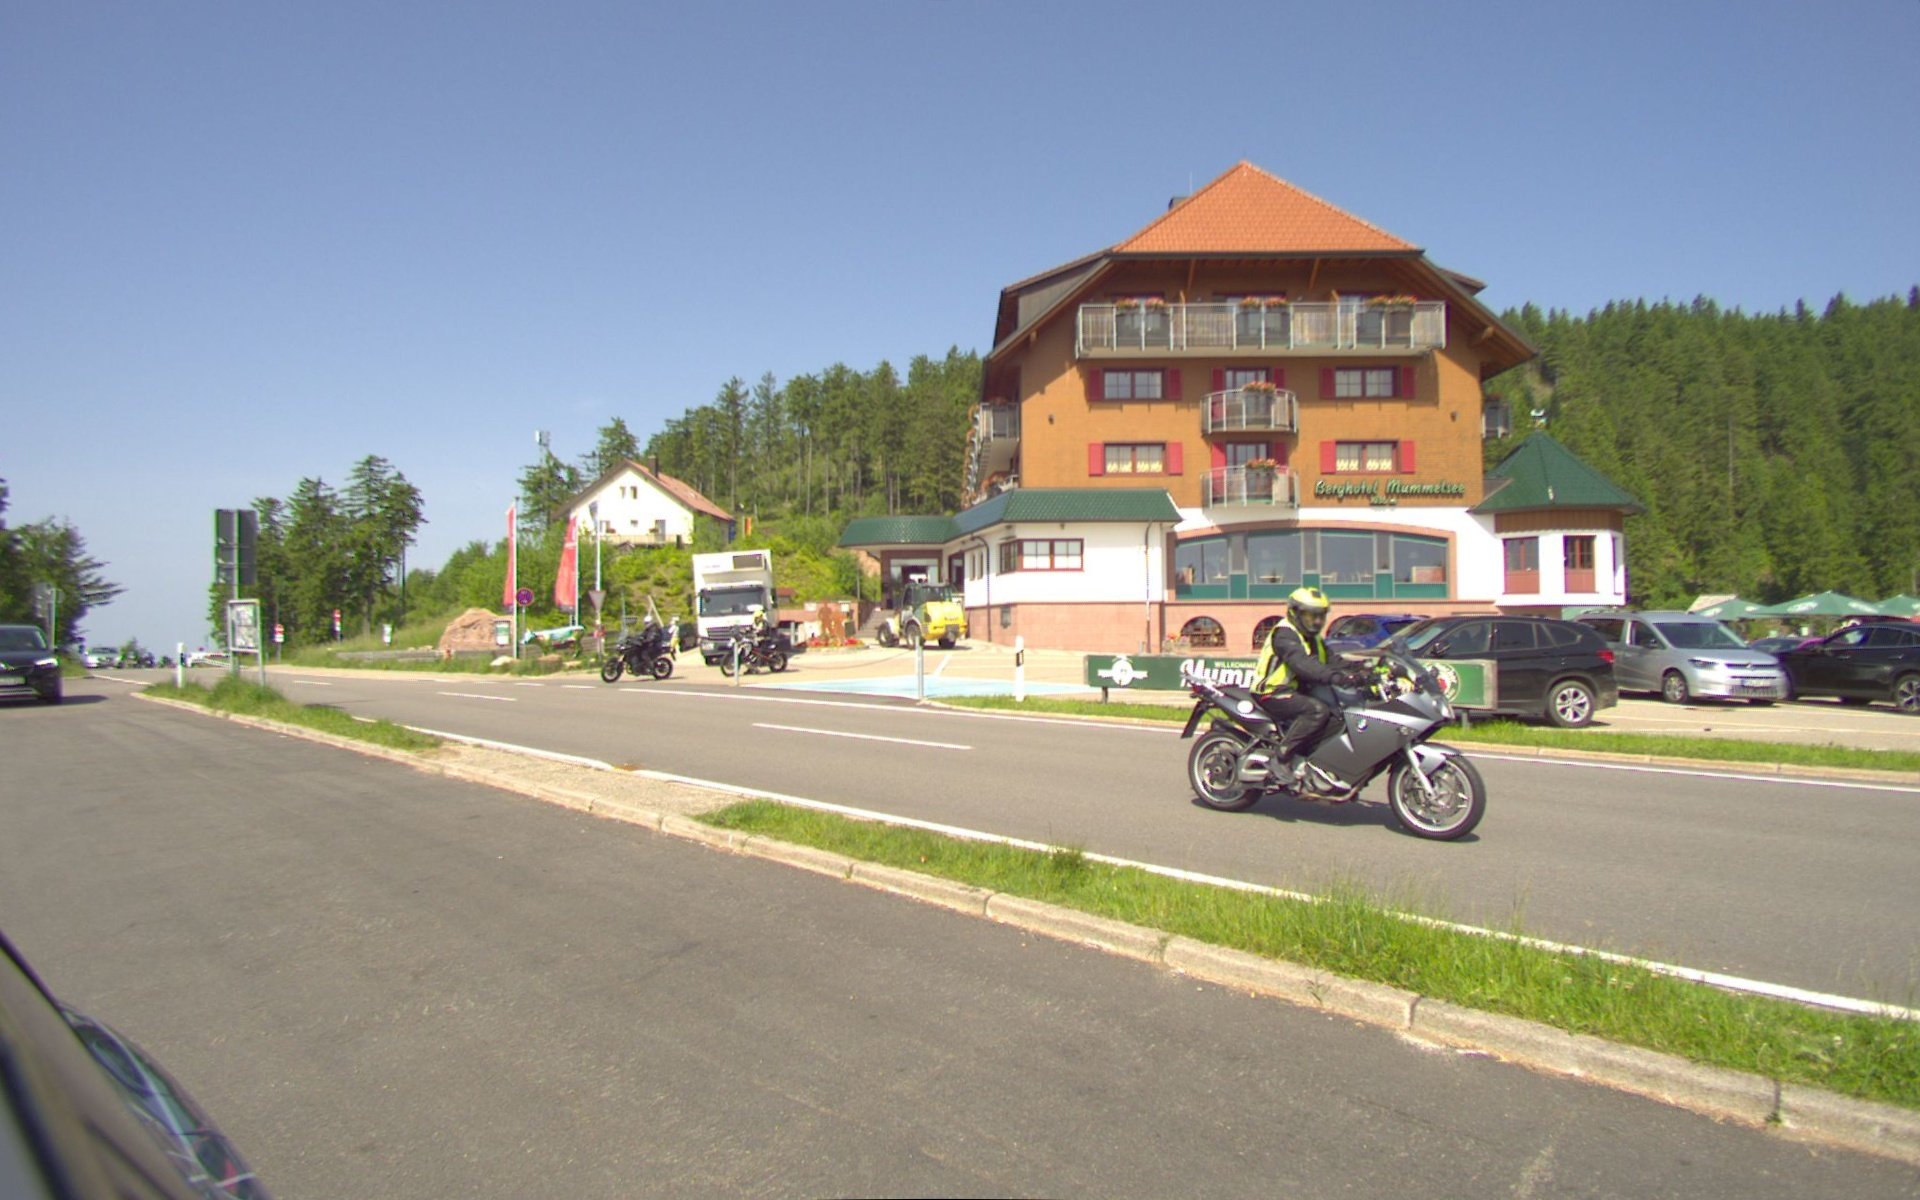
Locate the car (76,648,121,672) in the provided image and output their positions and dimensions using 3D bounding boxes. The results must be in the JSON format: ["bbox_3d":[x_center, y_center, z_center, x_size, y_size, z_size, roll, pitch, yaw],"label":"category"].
[{"bbox_3d":[-54.814,3.799,64.386,4.000,1.468,1.756,-3,-4,43],"label":"car"}]

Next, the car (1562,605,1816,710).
[{"bbox_3d":[14.468,1.129,20.486,1.810,1.878,4.528,0,-3,1],"label":"car"}]

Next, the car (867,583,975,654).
[{"bbox_3d":[-1.504,0.742,37.751,1.969,2.515,4.006,2,-3,-40],"label":"car"}]

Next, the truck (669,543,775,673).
[{"bbox_3d":[-8.330,0.240,36.460,3.021,4.002,8.789,-3,0,-9],"label":"truck"}]

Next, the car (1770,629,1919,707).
[{"bbox_3d":[19.313,1.363,20.777,1.906,1.494,4.003,0,-3,-4],"label":"car"}]

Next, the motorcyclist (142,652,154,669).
[{"bbox_3d":[-79.662,5.931,99.291,0.868,1.654,1.301,3,-4,-42],"label":"motorcyclist"}]

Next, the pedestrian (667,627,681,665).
[{"bbox_3d":[-13.072,2.109,46.286,0.566,1.702,0.654,0,-3,-10],"label":"pedestrian"}]

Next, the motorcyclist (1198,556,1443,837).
[{"bbox_3d":[2.449,0.598,6.892,1.292,1.688,1.015,-2,-2,39],"label":"motorcyclist"}]

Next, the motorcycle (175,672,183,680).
[{"bbox_3d":[-116.601,11.284,151.105,0.827,1.104,2.189,-1,-1,-32],"label":"motorcycle"}]

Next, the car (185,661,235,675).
[{"bbox_3d":[-77.158,7.026,104.142,3.872,1.384,1.934,5,-6,-43],"label":"car"}]

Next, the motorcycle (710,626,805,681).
[{"bbox_3d":[-5.671,1.479,28.425,2.403,1.417,1.009,-1,0,-32],"label":"motorcycle"}]

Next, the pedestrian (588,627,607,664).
[{"bbox_3d":[-17.163,2.140,47.934,0.688,1.729,0.800,0,-3,-10],"label":"pedestrian"}]

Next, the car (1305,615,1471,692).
[{"bbox_3d":[10.175,1.227,24.500,1.911,1.676,4.547,0,-1,-2],"label":"car"}]

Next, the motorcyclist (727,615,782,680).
[{"bbox_3d":[-5.764,1.302,28.363,1.227,1.733,1.068,-1,-1,-31],"label":"motorcyclist"}]

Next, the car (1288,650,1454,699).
[{"bbox_3d":[11.560,2.090,28.655,3.944,1.307,1.713,0,-3,1],"label":"car"}]

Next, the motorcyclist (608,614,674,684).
[{"bbox_3d":[-8.472,1.264,26.866,1.428,1.730,0.928,-2,1,-34],"label":"motorcyclist"}]

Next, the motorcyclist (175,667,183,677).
[{"bbox_3d":[-116.550,10.776,151.035,0.827,1.452,1.008,0,-1,-32],"label":"motorcyclist"}]

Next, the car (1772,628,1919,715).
[{"bbox_3d":[16.822,1.216,17.677,1.886,1.441,4.001,0,-3,-2],"label":"car"}]

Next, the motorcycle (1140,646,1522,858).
[{"bbox_3d":[2.435,0.918,6.864,2.284,1.186,0.814,-2,-2,39],"label":"motorcycle"}]

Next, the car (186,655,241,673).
[{"bbox_3d":[-83.783,7.191,113.603,4.661,1.896,1.934,5,-6,-44],"label":"car"}]

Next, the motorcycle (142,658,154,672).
[{"bbox_3d":[-79.667,6.371,99.281,0.801,1.275,2.330,3,-4,-41],"label":"motorcycle"}]

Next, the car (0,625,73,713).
[{"bbox_3d":[-19.354,1.350,20.325,4.150,1.629,1.958,-2,-2,44],"label":"car"}]

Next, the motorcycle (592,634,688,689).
[{"bbox_3d":[-8.506,1.609,26.914,2.239,1.266,0.881,-2,1,-34],"label":"motorcycle"}]

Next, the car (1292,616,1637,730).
[{"bbox_3d":[7.302,1.059,14.991,4.136,1.552,1.806,0,-3,2],"label":"car"}]

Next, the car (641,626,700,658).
[{"bbox_3d":[-15.743,2.266,55.264,1.855,1.364,3.997,0,3,3],"label":"car"}]
